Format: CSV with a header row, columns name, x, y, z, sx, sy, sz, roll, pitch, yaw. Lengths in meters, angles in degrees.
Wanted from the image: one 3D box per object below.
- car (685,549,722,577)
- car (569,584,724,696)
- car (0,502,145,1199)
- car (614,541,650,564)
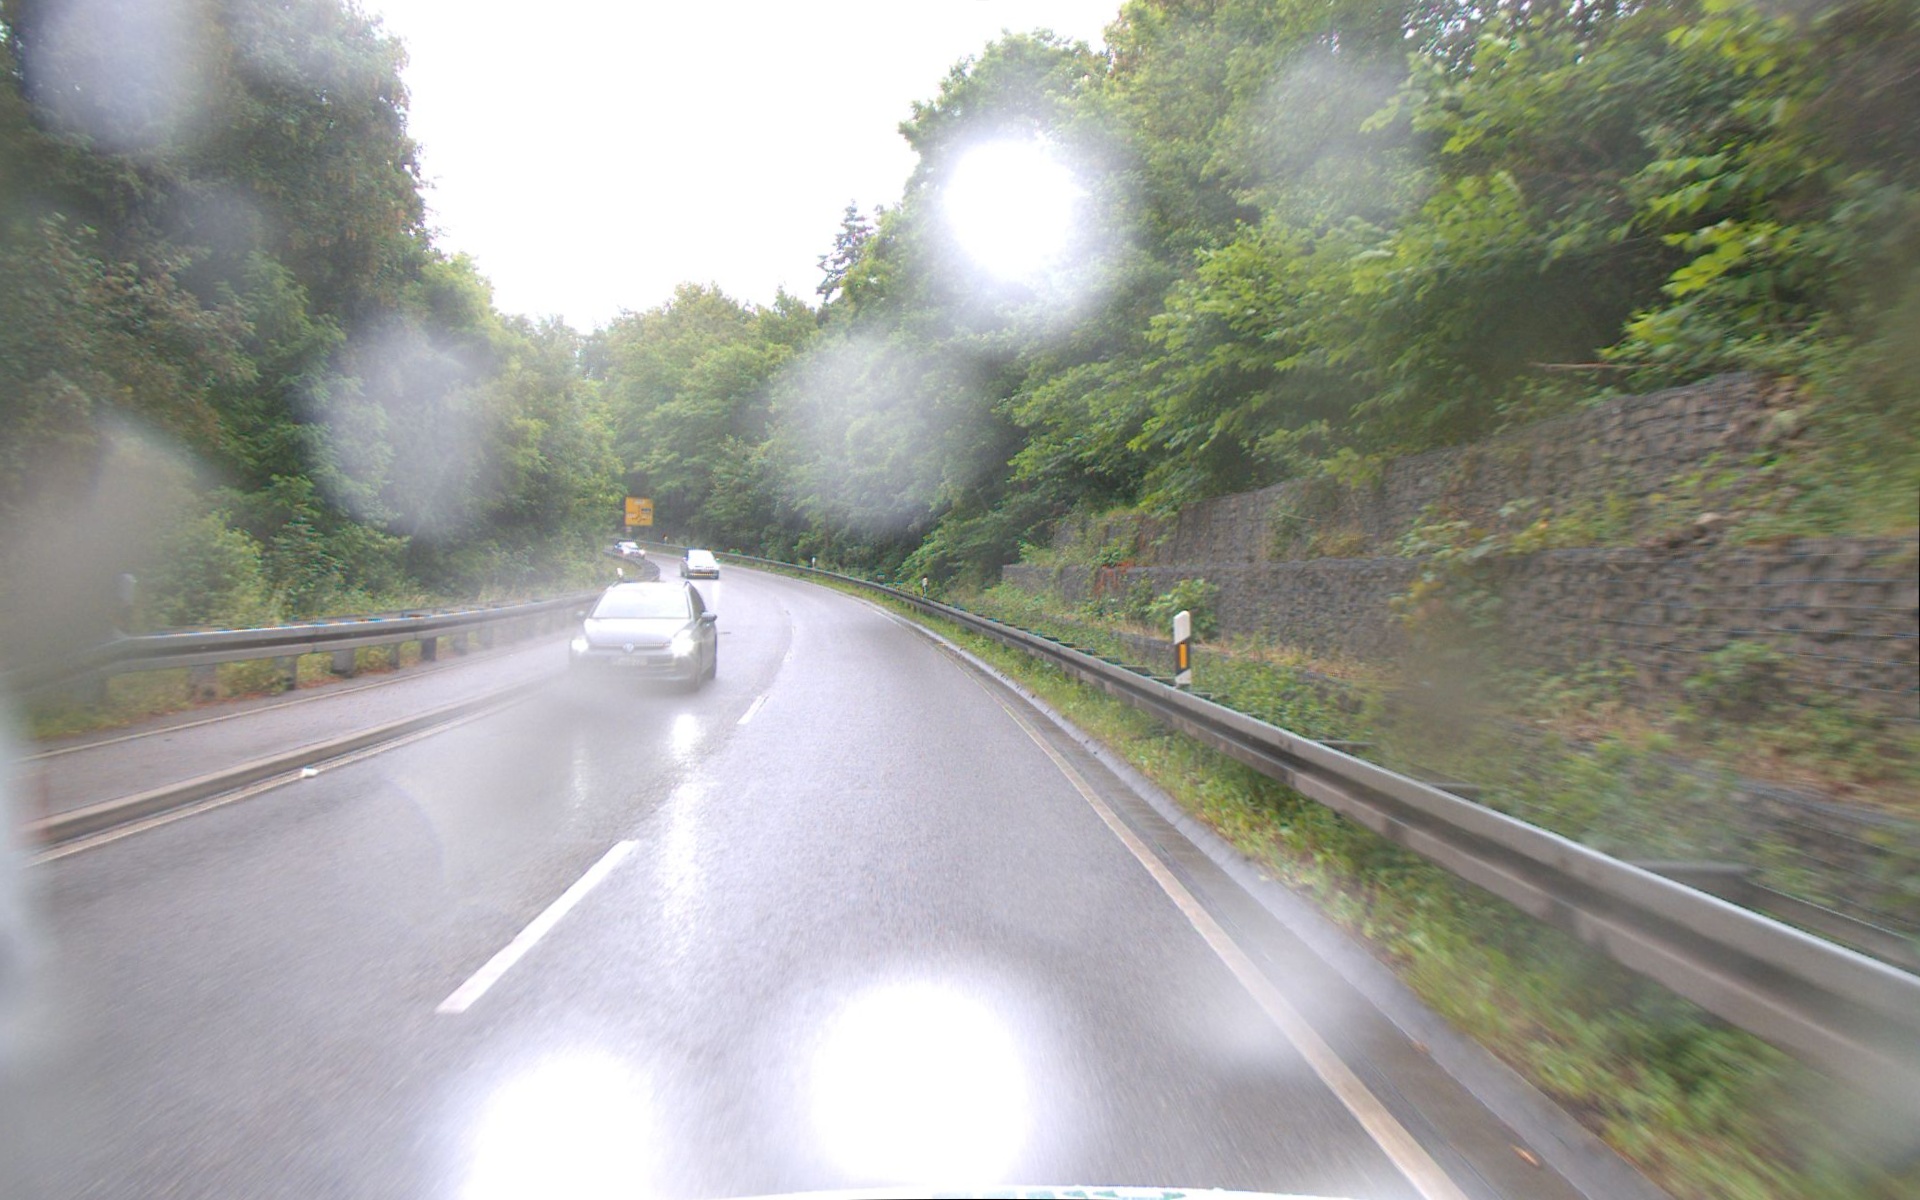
name,x,y,z,sx,sy,sz,roll,pitch,yaw
car,-14.111,-2.020,90.892,1.569,1.434,3.410,0,0,-17
car,-4.374,0.507,23.608,1.779,1.459,3.996,0,0,-5
car,-3.079,0.601,2.427,1.777,1.677,4.130,0,0,-1
car,-22.539,-3.255,113.515,1.769,1.434,3.974,0,0,-22
